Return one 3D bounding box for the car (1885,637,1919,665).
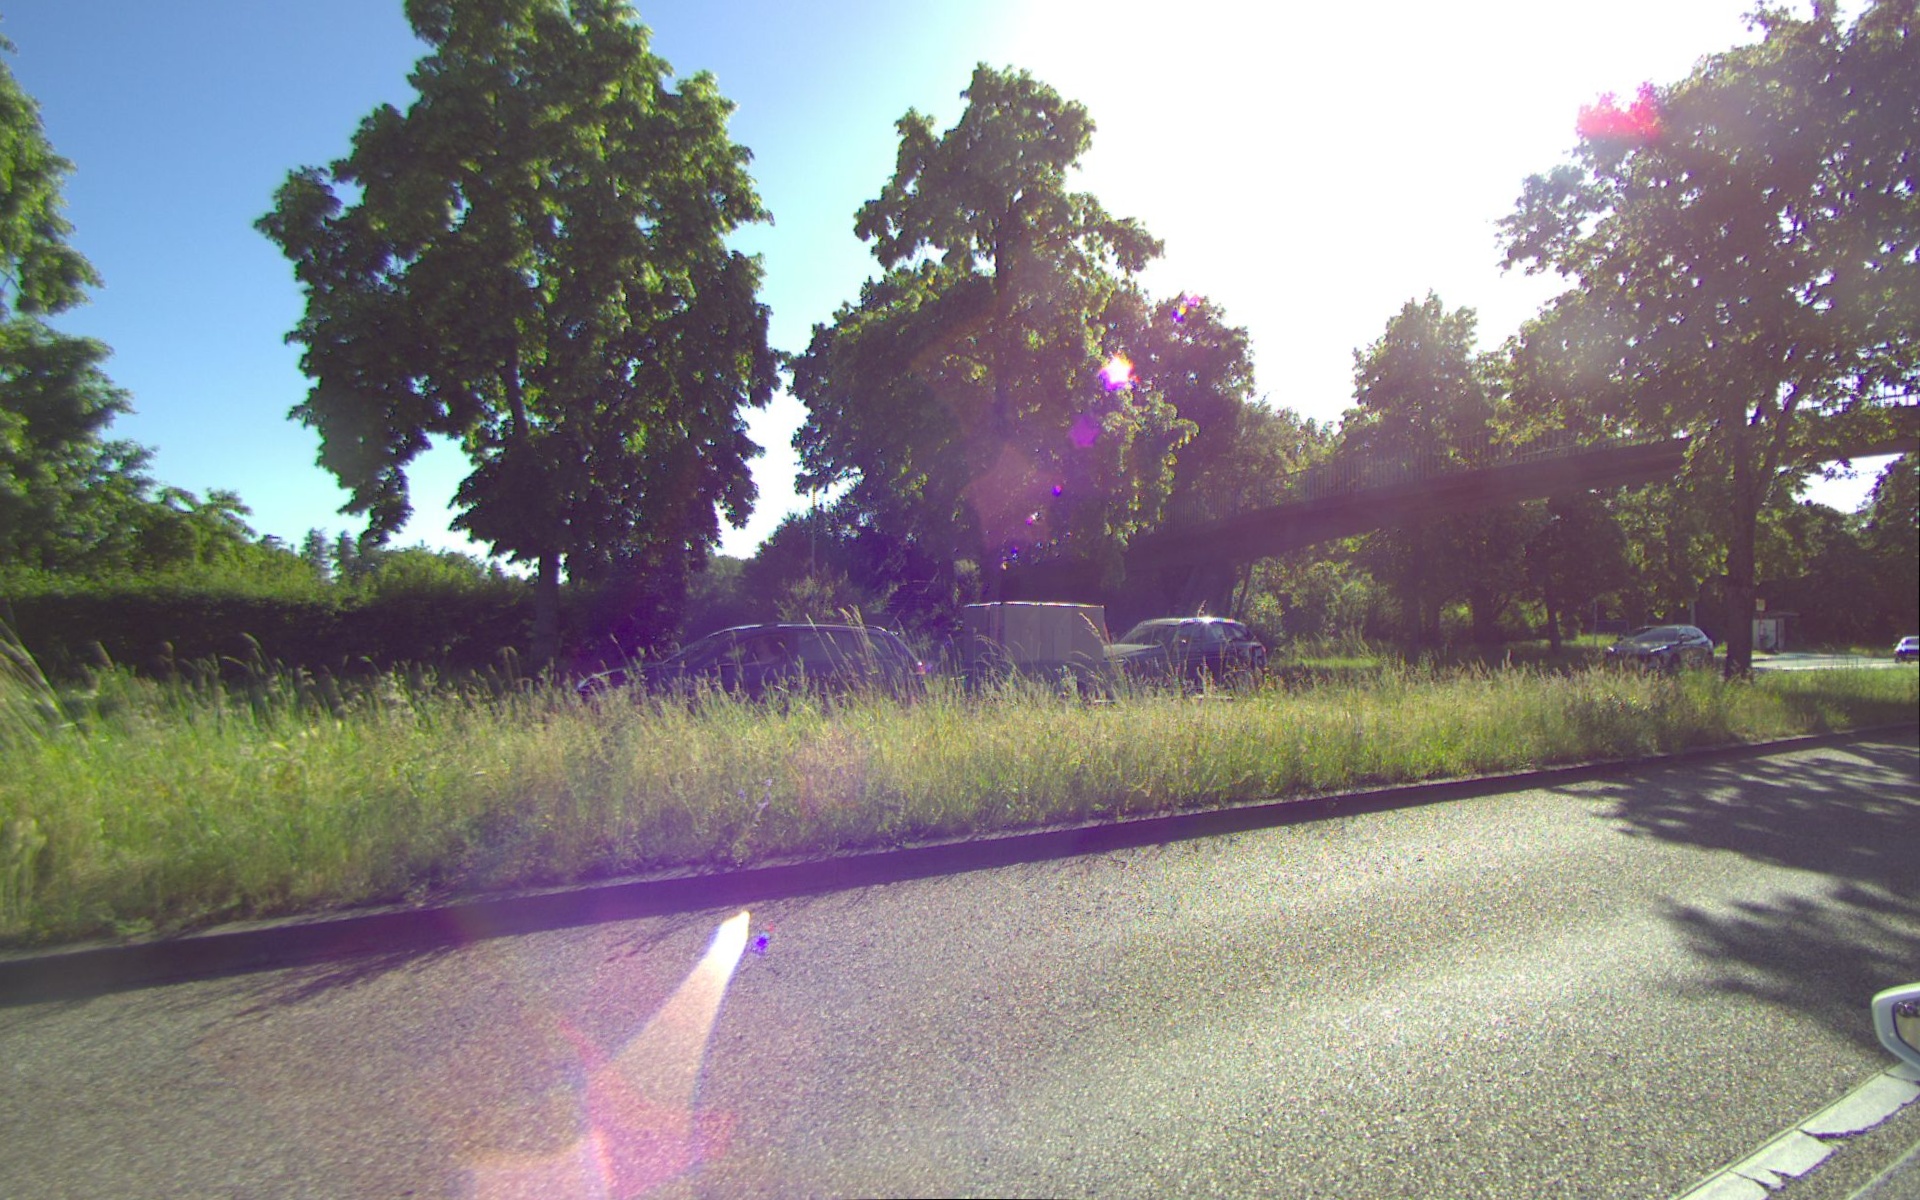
[{"bbox_3d":[51.161,2.731,53.696,4.211,1.449,1.531,1,-3,-34],"label":"car"}]

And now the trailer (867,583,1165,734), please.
[{"bbox_3d":[0.890,0.788,14.683,4.235,1.935,1.554,1,-1,-32],"label":"trailer"}]

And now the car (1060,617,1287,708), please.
[{"bbox_3d":[4.339,1.177,20.158,4.527,1.641,1.740,1,-1,-32],"label":"car"}]

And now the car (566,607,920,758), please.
[{"bbox_3d":[-2.628,0.914,12.483,3.982,1.603,1.685,1,-1,-33],"label":"car"}]

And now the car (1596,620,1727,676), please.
[{"bbox_3d":[22.521,1.532,32.195,4.847,1.668,1.722,1,-3,-33],"label":"car"}]
